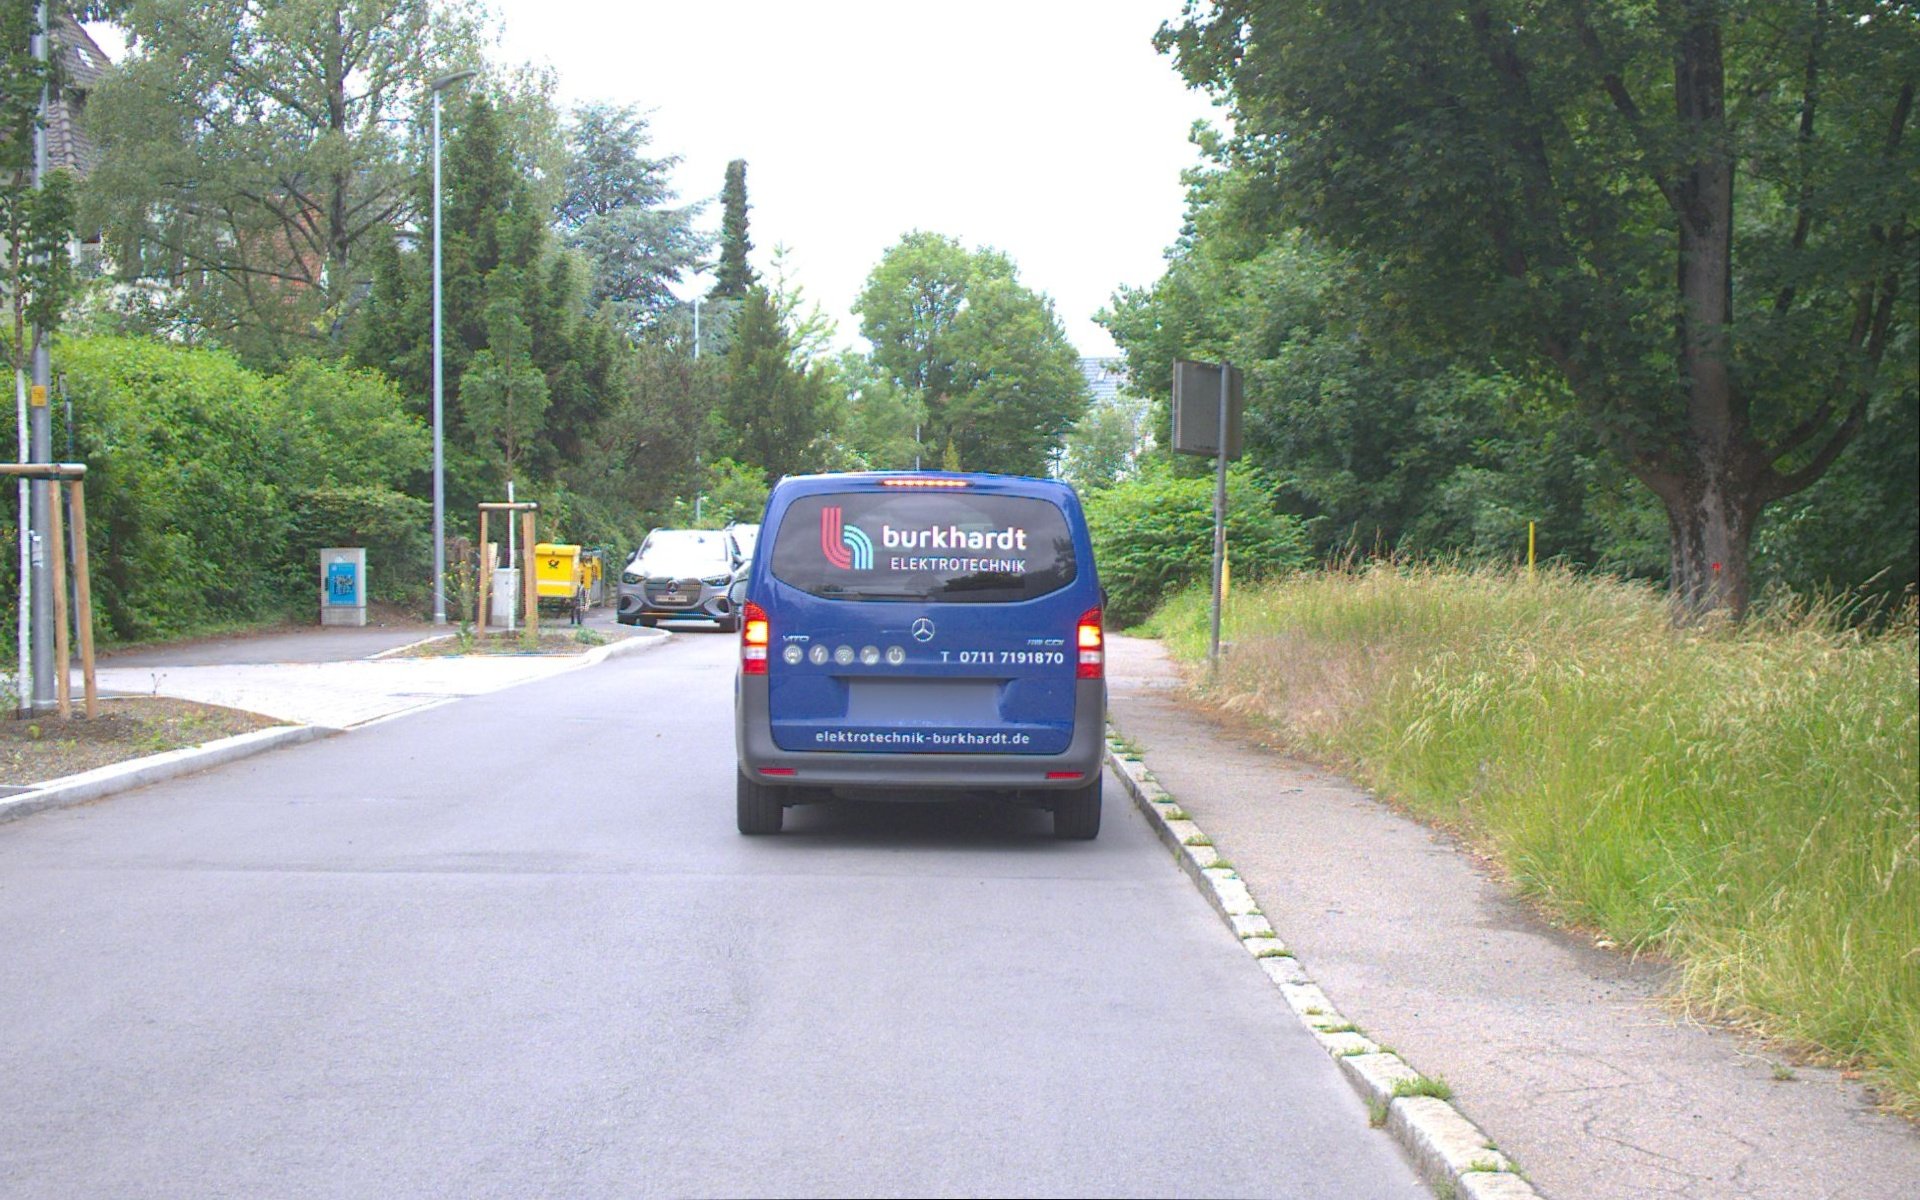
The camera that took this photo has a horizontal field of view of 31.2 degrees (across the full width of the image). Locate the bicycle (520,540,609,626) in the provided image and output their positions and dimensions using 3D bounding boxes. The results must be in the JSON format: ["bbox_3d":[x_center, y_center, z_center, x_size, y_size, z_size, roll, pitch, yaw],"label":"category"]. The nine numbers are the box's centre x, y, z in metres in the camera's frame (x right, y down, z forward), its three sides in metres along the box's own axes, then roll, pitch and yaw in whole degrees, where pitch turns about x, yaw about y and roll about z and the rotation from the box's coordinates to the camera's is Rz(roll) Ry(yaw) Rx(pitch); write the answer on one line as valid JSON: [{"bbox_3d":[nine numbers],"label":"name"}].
[{"bbox_3d":[-6.080,-0.275,53.039,0.906,1.247,2.916,3,1,2],"label":"bicycle"}]

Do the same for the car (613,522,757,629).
[{"bbox_3d":[-4.429,-0.414,55.930,1.836,1.625,4.300,2,1,2],"label":"car"}]

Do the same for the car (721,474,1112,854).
[{"bbox_3d":[-0.299,0.258,18.654,1.888,1.837,4.001,0,2,-3],"label":"car"}]

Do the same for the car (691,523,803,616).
[{"bbox_3d":[-4.226,-0.636,68.830,1.832,1.745,4.000,2,1,2],"label":"car"}]

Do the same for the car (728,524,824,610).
[{"bbox_3d":[-3.982,-0.708,74.992,1.831,1.798,4.000,1,0,0],"label":"car"}]
